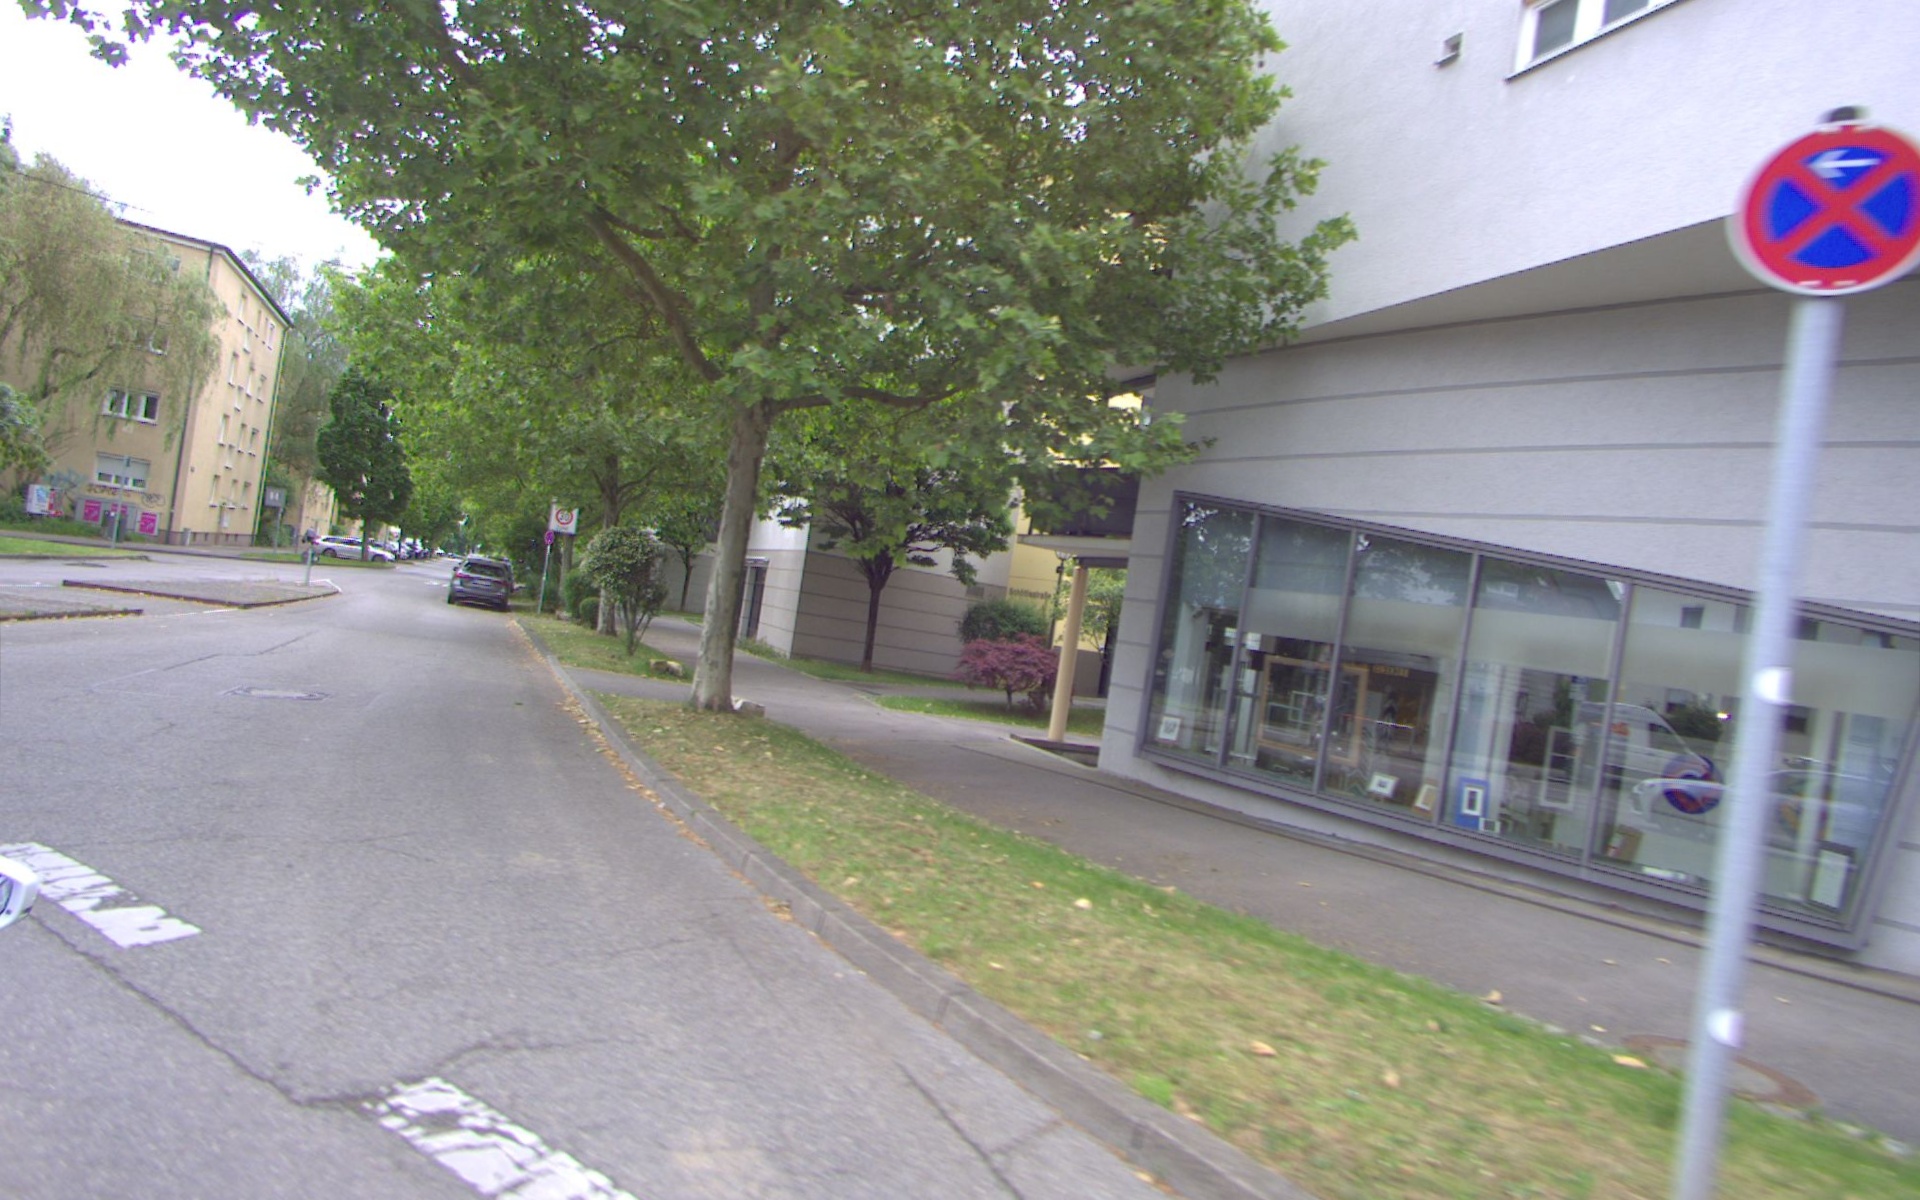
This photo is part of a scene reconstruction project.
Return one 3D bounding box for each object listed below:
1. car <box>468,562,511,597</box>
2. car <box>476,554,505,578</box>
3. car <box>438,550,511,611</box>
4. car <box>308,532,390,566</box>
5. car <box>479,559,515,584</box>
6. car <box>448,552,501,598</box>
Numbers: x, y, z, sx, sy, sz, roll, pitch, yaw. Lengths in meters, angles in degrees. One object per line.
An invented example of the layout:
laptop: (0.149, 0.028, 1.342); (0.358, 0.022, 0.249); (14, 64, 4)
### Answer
car: (-23.618, -1.007, 50.574); (1.629, 1.389, 3.427); (11, -3, -23)
car: (-36.942, -2.652, 79.065); (1.769, 1.463, 4.063); (11, -4, -26)
car: (-16.215, -0.644, 33.603); (1.860, 1.585, 3.994); (11, -3, -26)
car: (-38.274, -3.169, 63.165); (4.157, 1.596, 1.806); (6, -1, -28)
car: (-33.910, -2.093, 73.617); (1.773, 1.502, 3.605); (12, -4, -31)
car: (-20.865, -1.056, 43.351); (1.764, 1.615, 4.224); (10, -3, -25)
